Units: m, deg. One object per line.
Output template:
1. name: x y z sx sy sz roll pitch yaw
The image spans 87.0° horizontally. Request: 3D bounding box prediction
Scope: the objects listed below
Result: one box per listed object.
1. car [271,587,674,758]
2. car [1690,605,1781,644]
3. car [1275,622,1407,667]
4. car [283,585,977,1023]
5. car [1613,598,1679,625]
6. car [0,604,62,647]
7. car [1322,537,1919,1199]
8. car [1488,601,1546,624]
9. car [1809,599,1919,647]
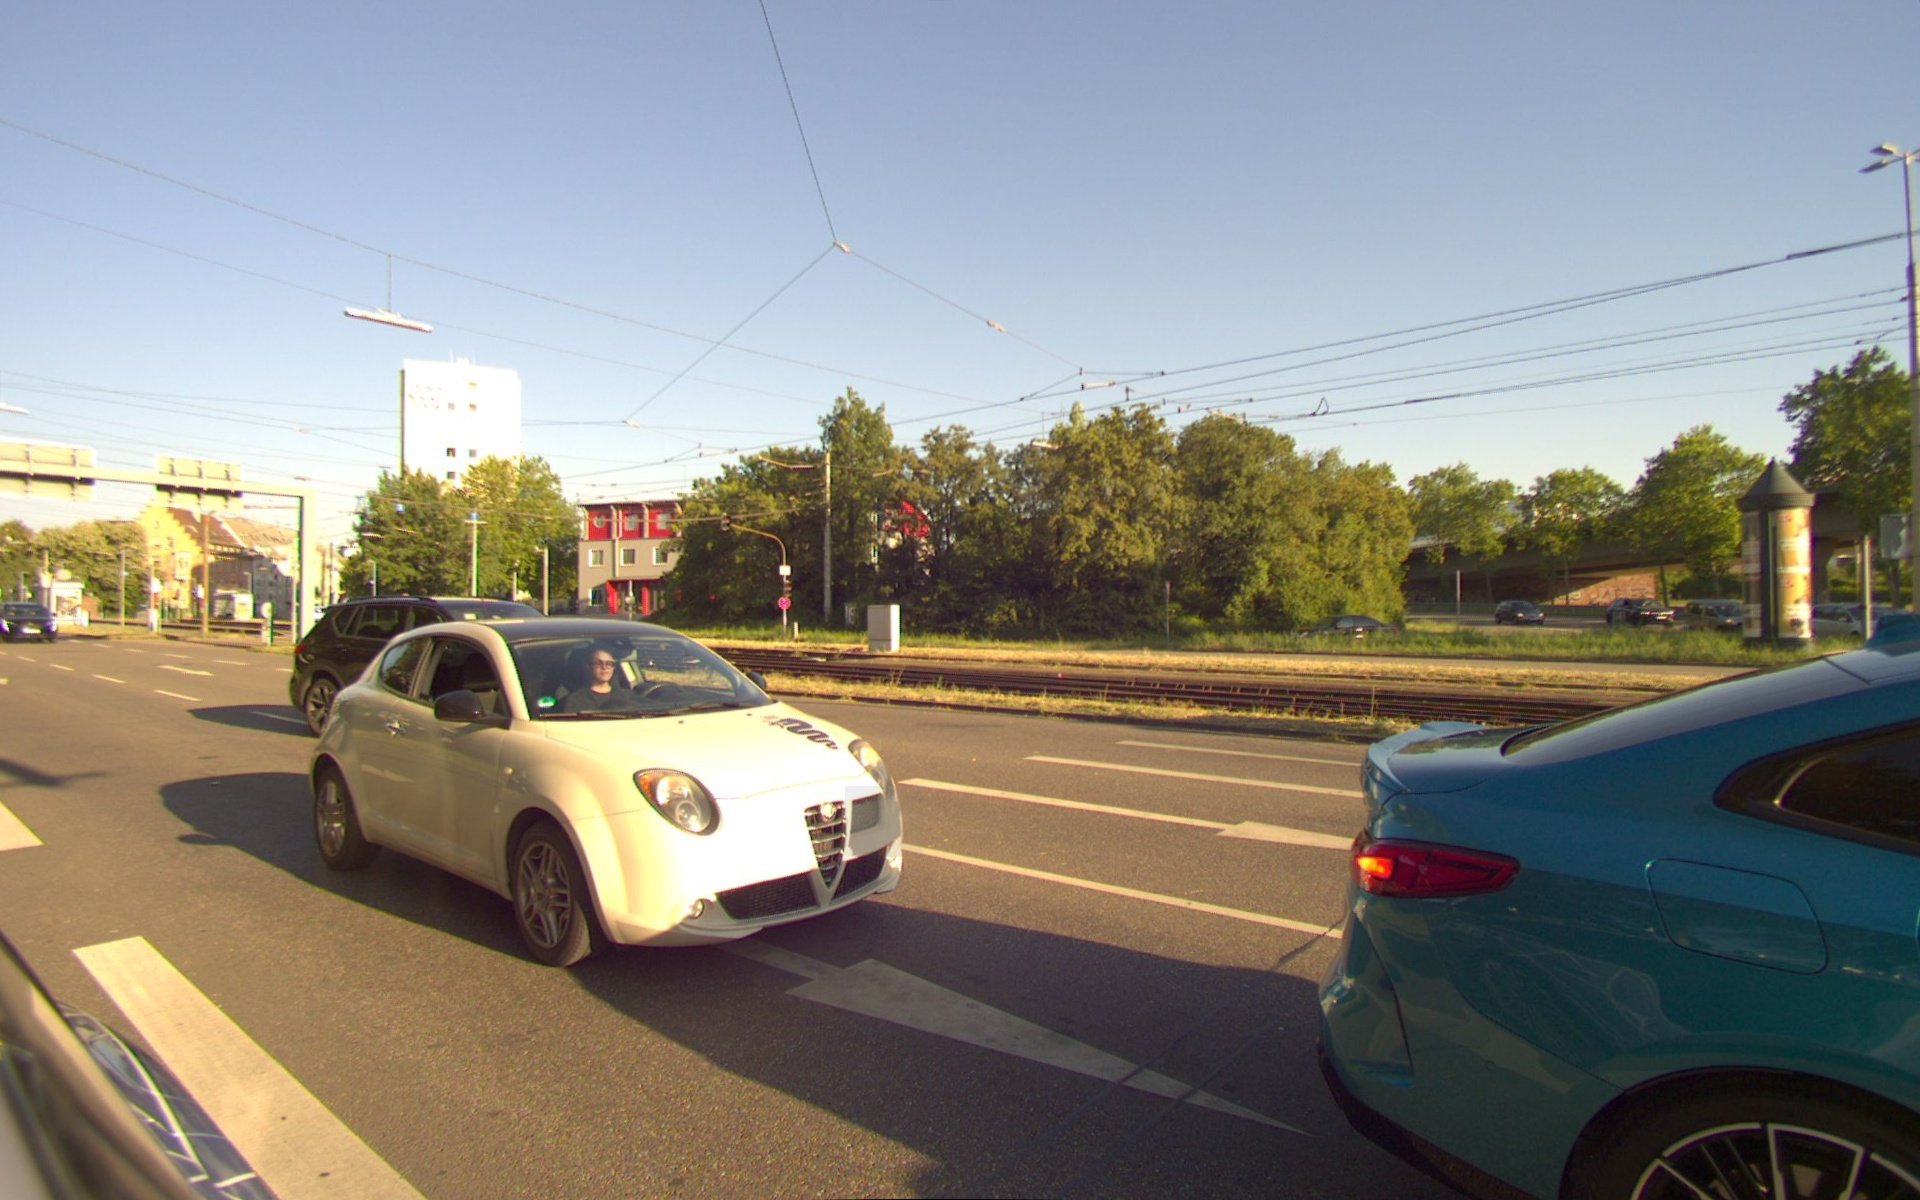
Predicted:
1. car: -5.735 0.750 11.808 4.598 1.692 1.804 -1 -1 26
2. car: 35.756 1.091 46.795 1.677 1.691 4.395 -1 -1 13
3. car: 15.384 1.764 40.974 4.682 1.691 1.756 -1 -1 -6
4. car: -1.995 0.758 5.473 3.997 1.517 1.719 -1 -2 40
5. car: 40.744 0.694 60.210 1.606 1.537 4.398 -1 -1 11
6. car: -38.716 1.046 41.696 4.271 1.675 1.882 -1 -2 39
7. car: 2.912 0.636 1.436 4.201 1.477 1.697 -1 -2 38
8. car: 37.698 0.831 68.592 1.699 1.537 3.935 -1 -1 -1
9. car: 32.859 0.790 36.629 1.679 1.643 4.263 -1 -1 17
